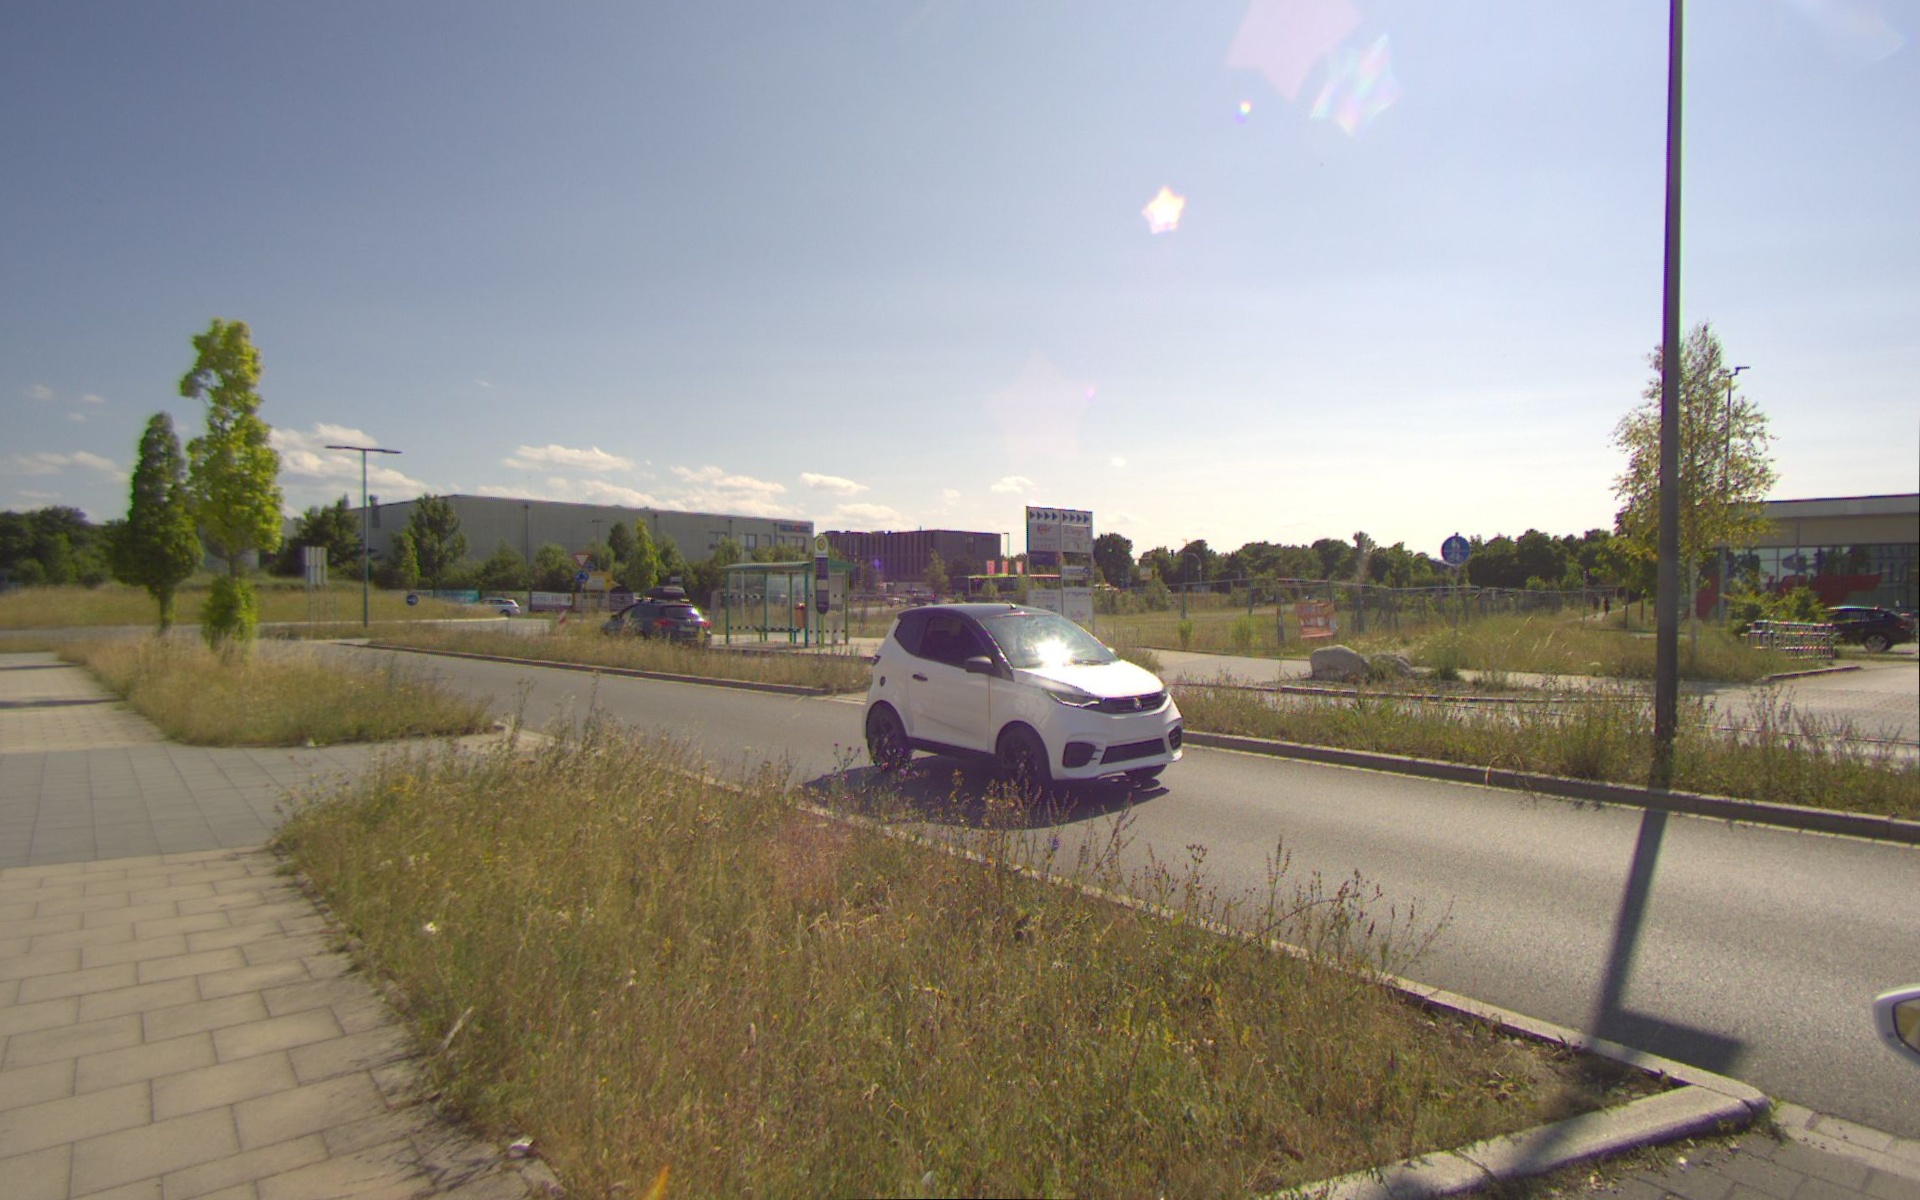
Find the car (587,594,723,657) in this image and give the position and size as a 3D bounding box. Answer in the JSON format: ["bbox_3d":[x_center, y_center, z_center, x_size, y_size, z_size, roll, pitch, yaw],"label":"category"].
[{"bbox_3d":[-8.529,0.655,27.894,1.986,1.537,4.142,1,1,-43],"label":"car"}]

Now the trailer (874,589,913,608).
[{"bbox_3d":[-6.817,-0.170,102.615,1.799,1.885,3.984,1,1,38],"label":"trailer"}]

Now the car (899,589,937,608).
[{"bbox_3d":[-4.394,-0.147,105.753,1.799,1.885,3.984,1,1,38],"label":"car"}]

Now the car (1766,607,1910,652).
[{"bbox_3d":[31.369,1.025,35.956,3.792,1.442,1.761,1,1,44],"label":"car"}]

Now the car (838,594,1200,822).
[{"bbox_3d":[0.393,0.747,8.628,1.467,1.510,2.965,-3,3,-40],"label":"car"}]

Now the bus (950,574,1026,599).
[{"bbox_3d":[3.410,-1.554,116.478,2.540,2.772,11.520,1,1,38],"label":"bus"}]
